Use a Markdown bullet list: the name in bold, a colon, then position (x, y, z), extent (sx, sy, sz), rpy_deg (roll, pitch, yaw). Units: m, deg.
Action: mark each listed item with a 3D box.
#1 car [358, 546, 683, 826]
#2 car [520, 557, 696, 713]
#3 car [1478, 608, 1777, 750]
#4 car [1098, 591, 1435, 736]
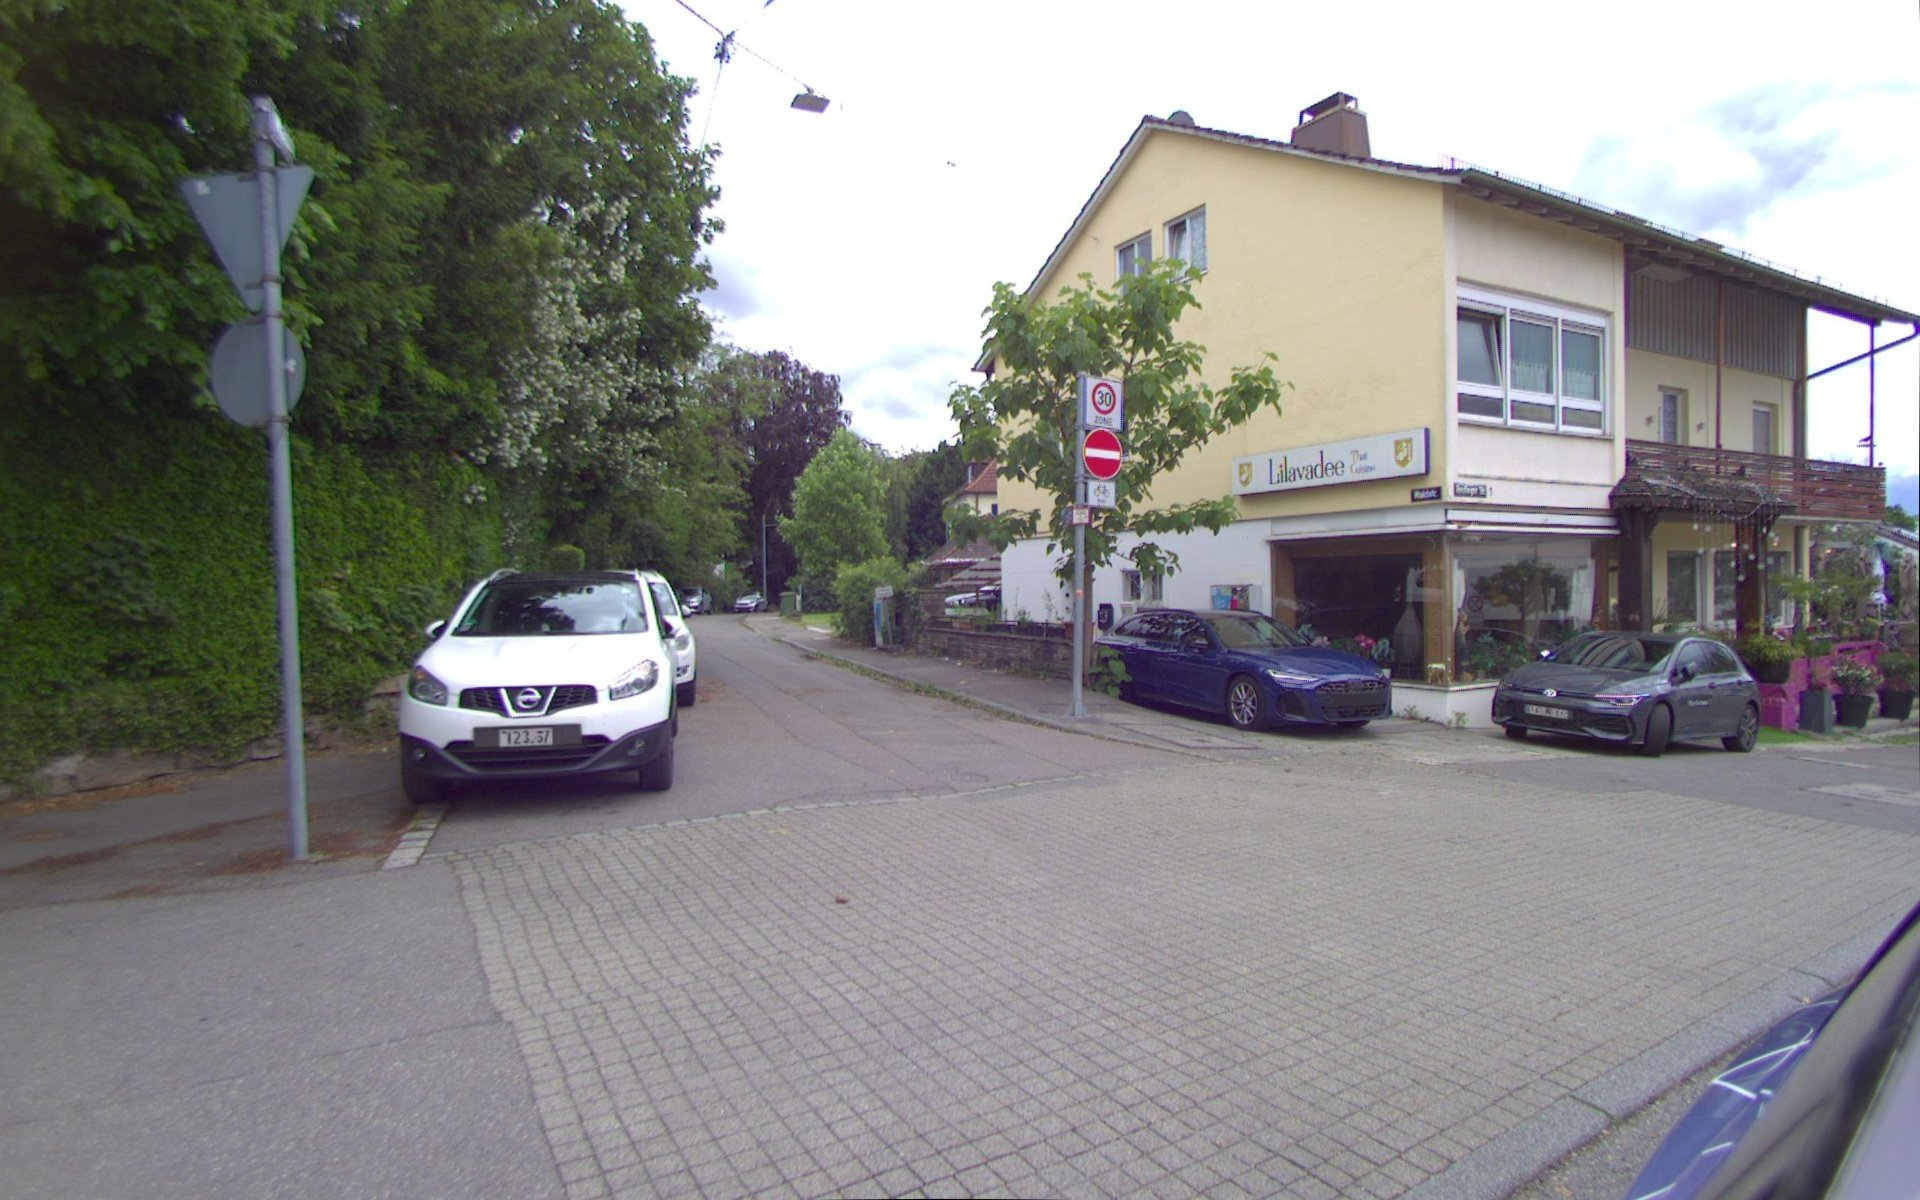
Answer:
- **car**: position (-3.197, 0.469, 8.184), extent (1.829, 1.660, 4.076), rpy_deg (-1, 1, -15)
- **car**: position (-4.381, 0.342, 13.098), extent (1.829, 1.681, 4.076), rpy_deg (0, 1, -15)
- **car**: position (8.514, 0.969, 12.829), extent (3.807, 1.512, 1.875), rpy_deg (4, -2, -35)
- **car**: position (3.810, 0.718, 13.403), extent (1.892, 1.548, 4.236), rpy_deg (3, 0, -25)
